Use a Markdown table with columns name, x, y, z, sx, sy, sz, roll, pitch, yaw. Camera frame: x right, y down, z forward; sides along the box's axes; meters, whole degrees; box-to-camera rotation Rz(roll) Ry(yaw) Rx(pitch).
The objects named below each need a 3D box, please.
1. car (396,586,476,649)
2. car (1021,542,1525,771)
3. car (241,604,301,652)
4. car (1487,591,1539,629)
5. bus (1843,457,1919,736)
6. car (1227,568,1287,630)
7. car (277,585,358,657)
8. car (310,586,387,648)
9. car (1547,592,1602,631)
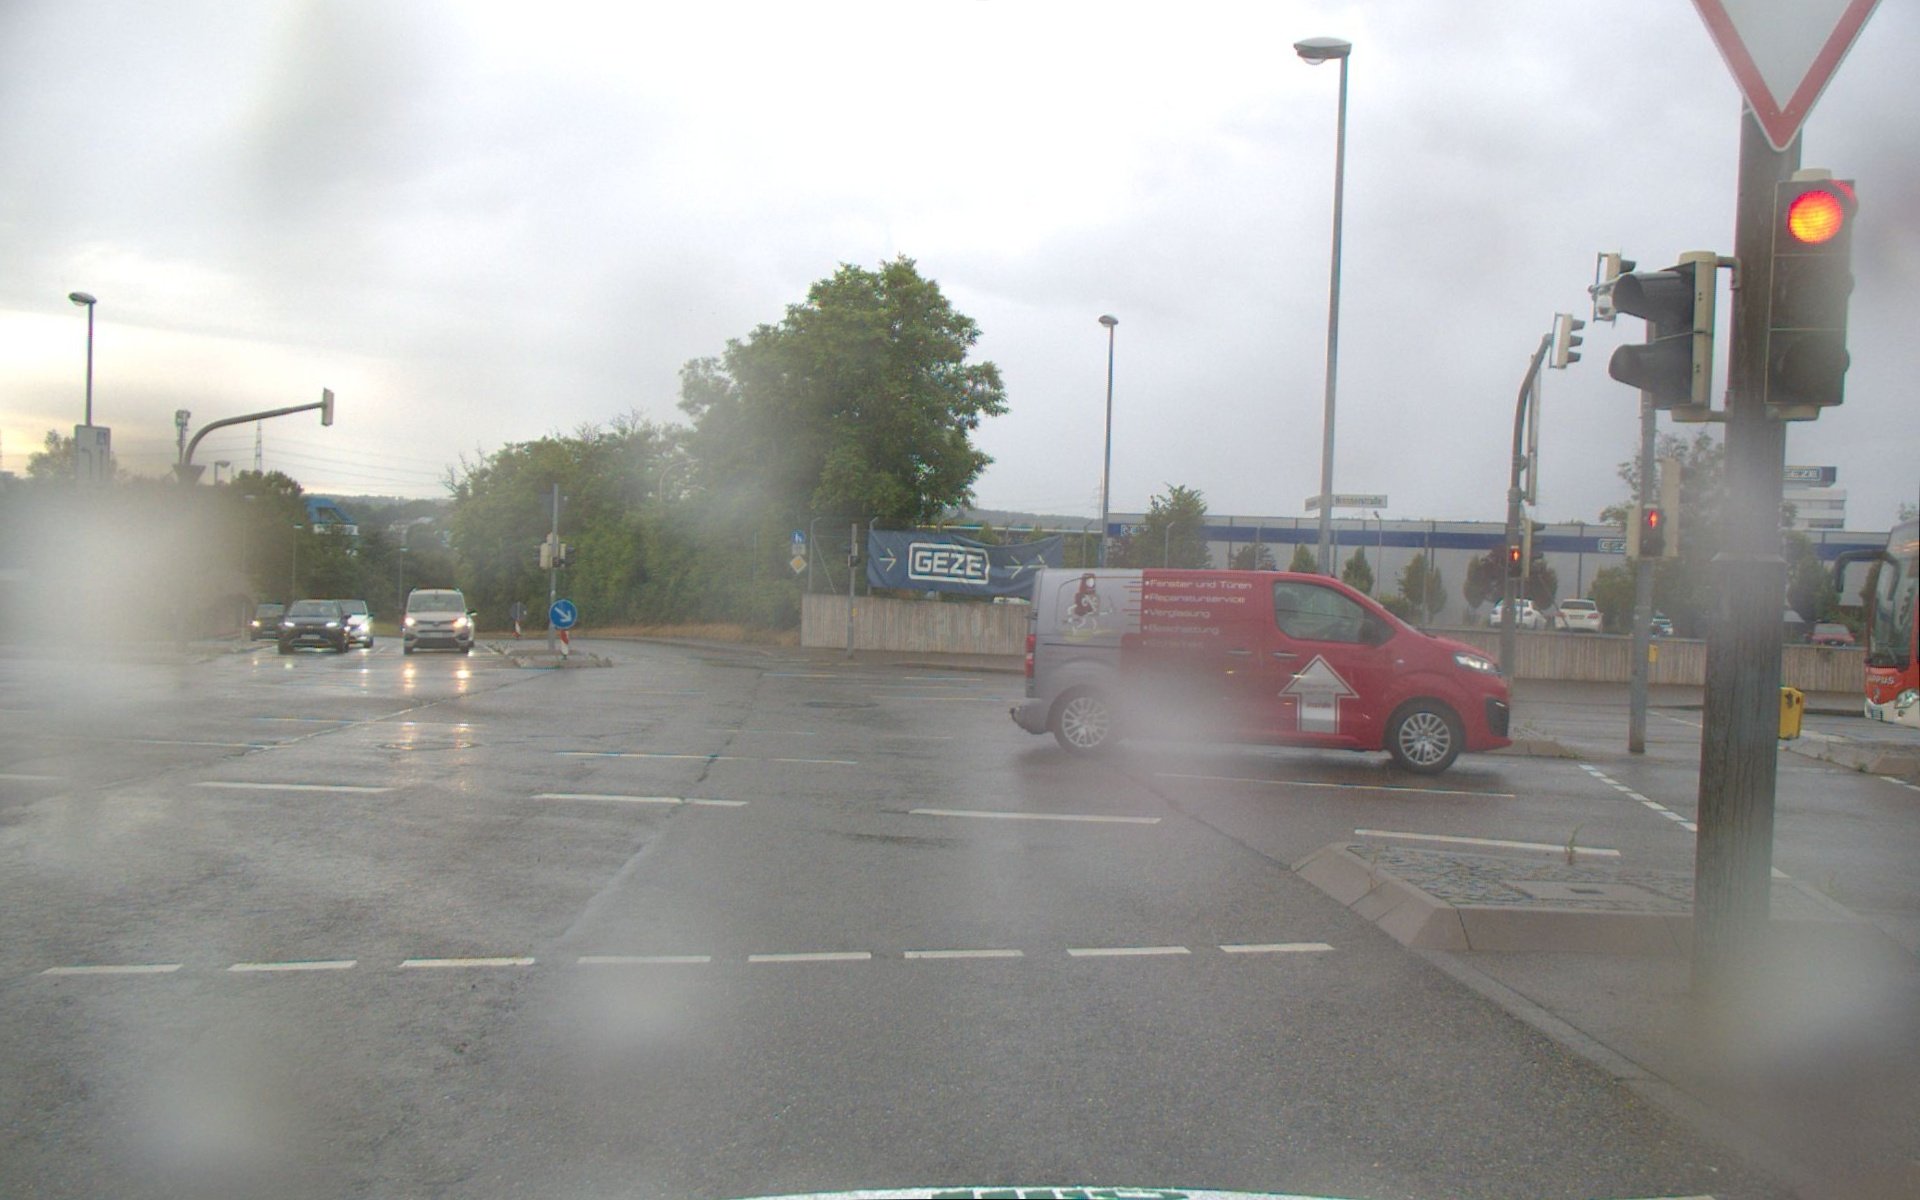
| name | x | y | z | sx | sy | sz | roll | pitch | yaw |
| --- | --- | --- | --- | --- | --- | --- | --- | --- | --- |
| car | -14.966 | 0.463 | 47.400 | 1.961 | 1.646 | 3.984 | 1 | 1 | -15 |
| car | 3.097 | 0.501 | 16.678 | 4.669 | 2.049 | 2.002 | 1 | 0 | 11 |
| car | -29.615 | 1.189 | 71.193 | 1.962 | 1.928 | 3.981 | 1 | 0 | -18 |
| car | 22.956 | 0.403 | 68.665 | 1.952 | 1.504 | 4.001 | 2 | 0 | 19 |
| bus | 17.707 | 0.223 | 19.865 | 12.020 | 3.379 | 3.076 | 3 | 1 | 17 |
| car | 10.391 | -0.051 | 57.860 | 1.951 | 2.049 | 4.003 | 1 | 0 | 11 |
| car | -18.563 | 0.586 | 47.936 | 1.963 | 1.928 | 3.979 | 1 | 0 | -19 |
| car | -20.386 | 0.551 | 55.243 | 1.960 | 1.928 | 3.985 | 1 | 0 | -14 |
| car | 25.253 | 0.473 | 68.077 | 1.952 | 1.504 | 4.001 | 2 | 0 | 19 |
